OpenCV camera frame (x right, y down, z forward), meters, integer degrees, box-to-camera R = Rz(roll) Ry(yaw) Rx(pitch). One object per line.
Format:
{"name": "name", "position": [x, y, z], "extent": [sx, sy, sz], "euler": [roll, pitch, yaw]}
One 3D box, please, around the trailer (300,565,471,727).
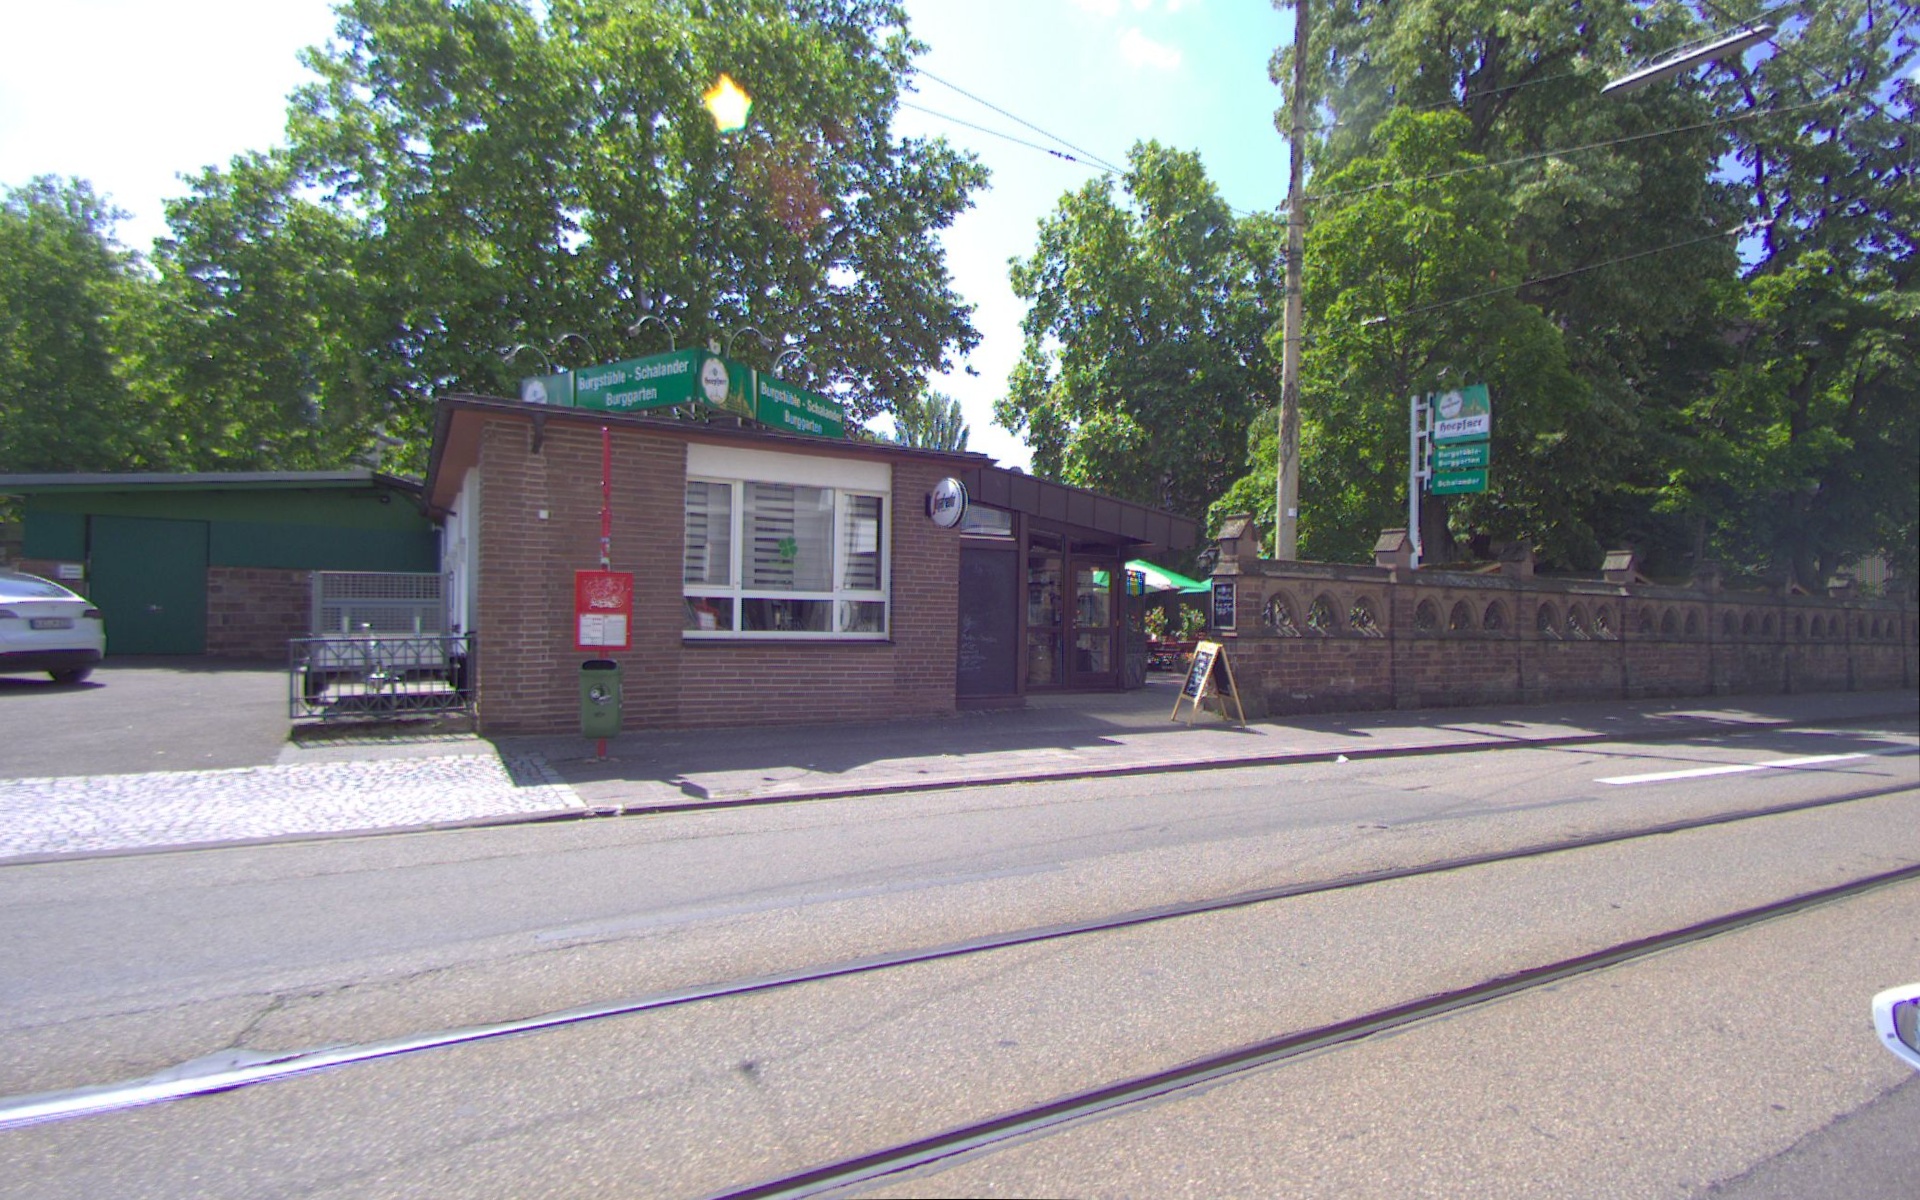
{"name": "trailer", "position": [-6.956, 0.503, 12.306], "extent": [1.601, 1.726, 2.818], "euler": [1, 0, -28]}

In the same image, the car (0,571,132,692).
{"name": "car", "position": [-14.631, 0.390, 14.672], "extent": [4.247, 1.613, 1.911], "euler": [1, 0, 18]}
